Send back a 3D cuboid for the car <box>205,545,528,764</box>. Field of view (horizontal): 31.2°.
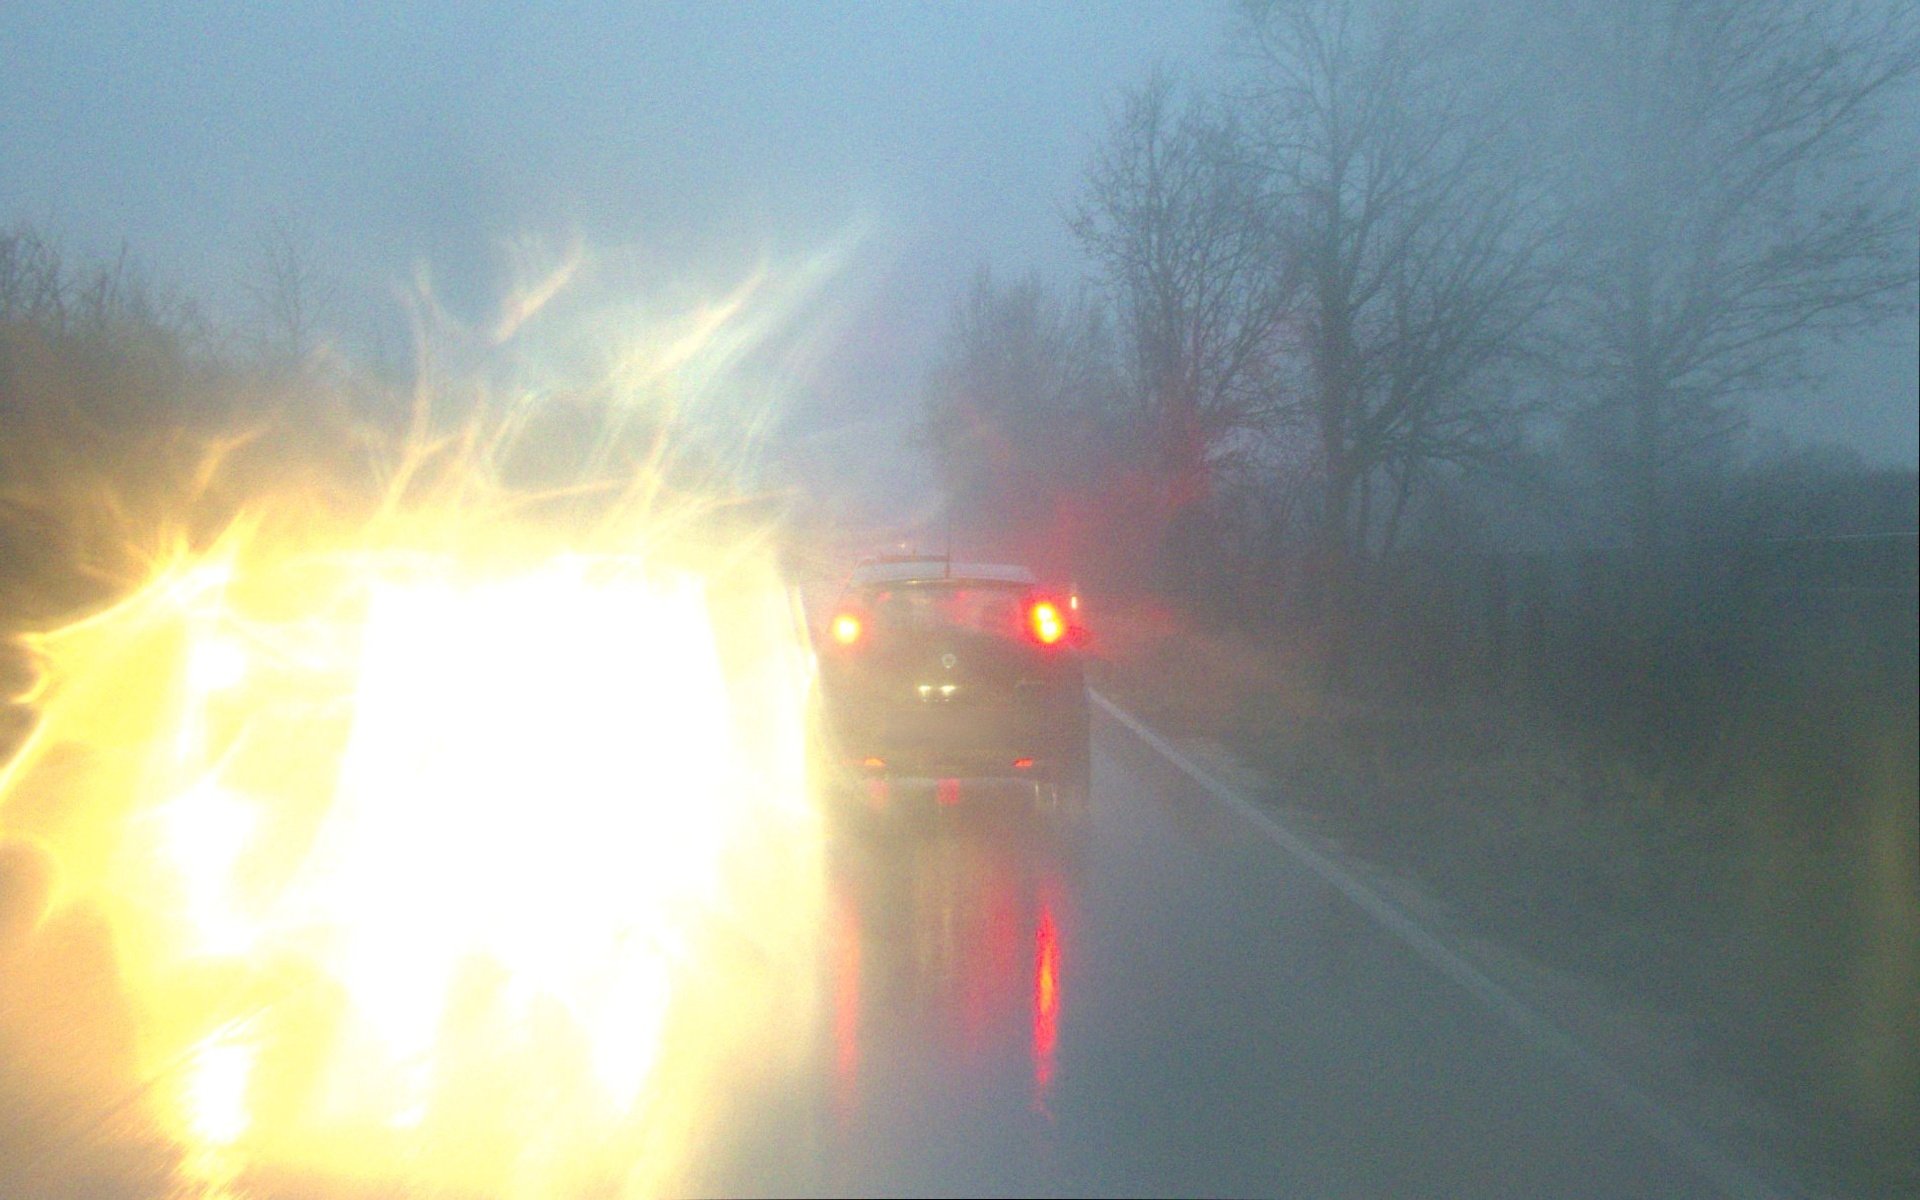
[{"bbox_3d":[-4.335,0.344,25.685,1.825,1.493,4.096,0,1,-2],"label":"car"}]

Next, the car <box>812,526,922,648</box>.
[{"bbox_3d":[-1.459,-0.226,55.118,1.574,1.868,3.709,1,1,1],"label":"car"}]

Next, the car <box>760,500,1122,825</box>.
[{"bbox_3d":[-0.086,0.321,21.271,1.993,1.778,4.000,1,1,1],"label":"car"}]

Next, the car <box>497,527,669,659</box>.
[{"bbox_3d":[-4.998,-0.120,46.107,1.758,1.635,4.686,1,1,0],"label":"car"}]
